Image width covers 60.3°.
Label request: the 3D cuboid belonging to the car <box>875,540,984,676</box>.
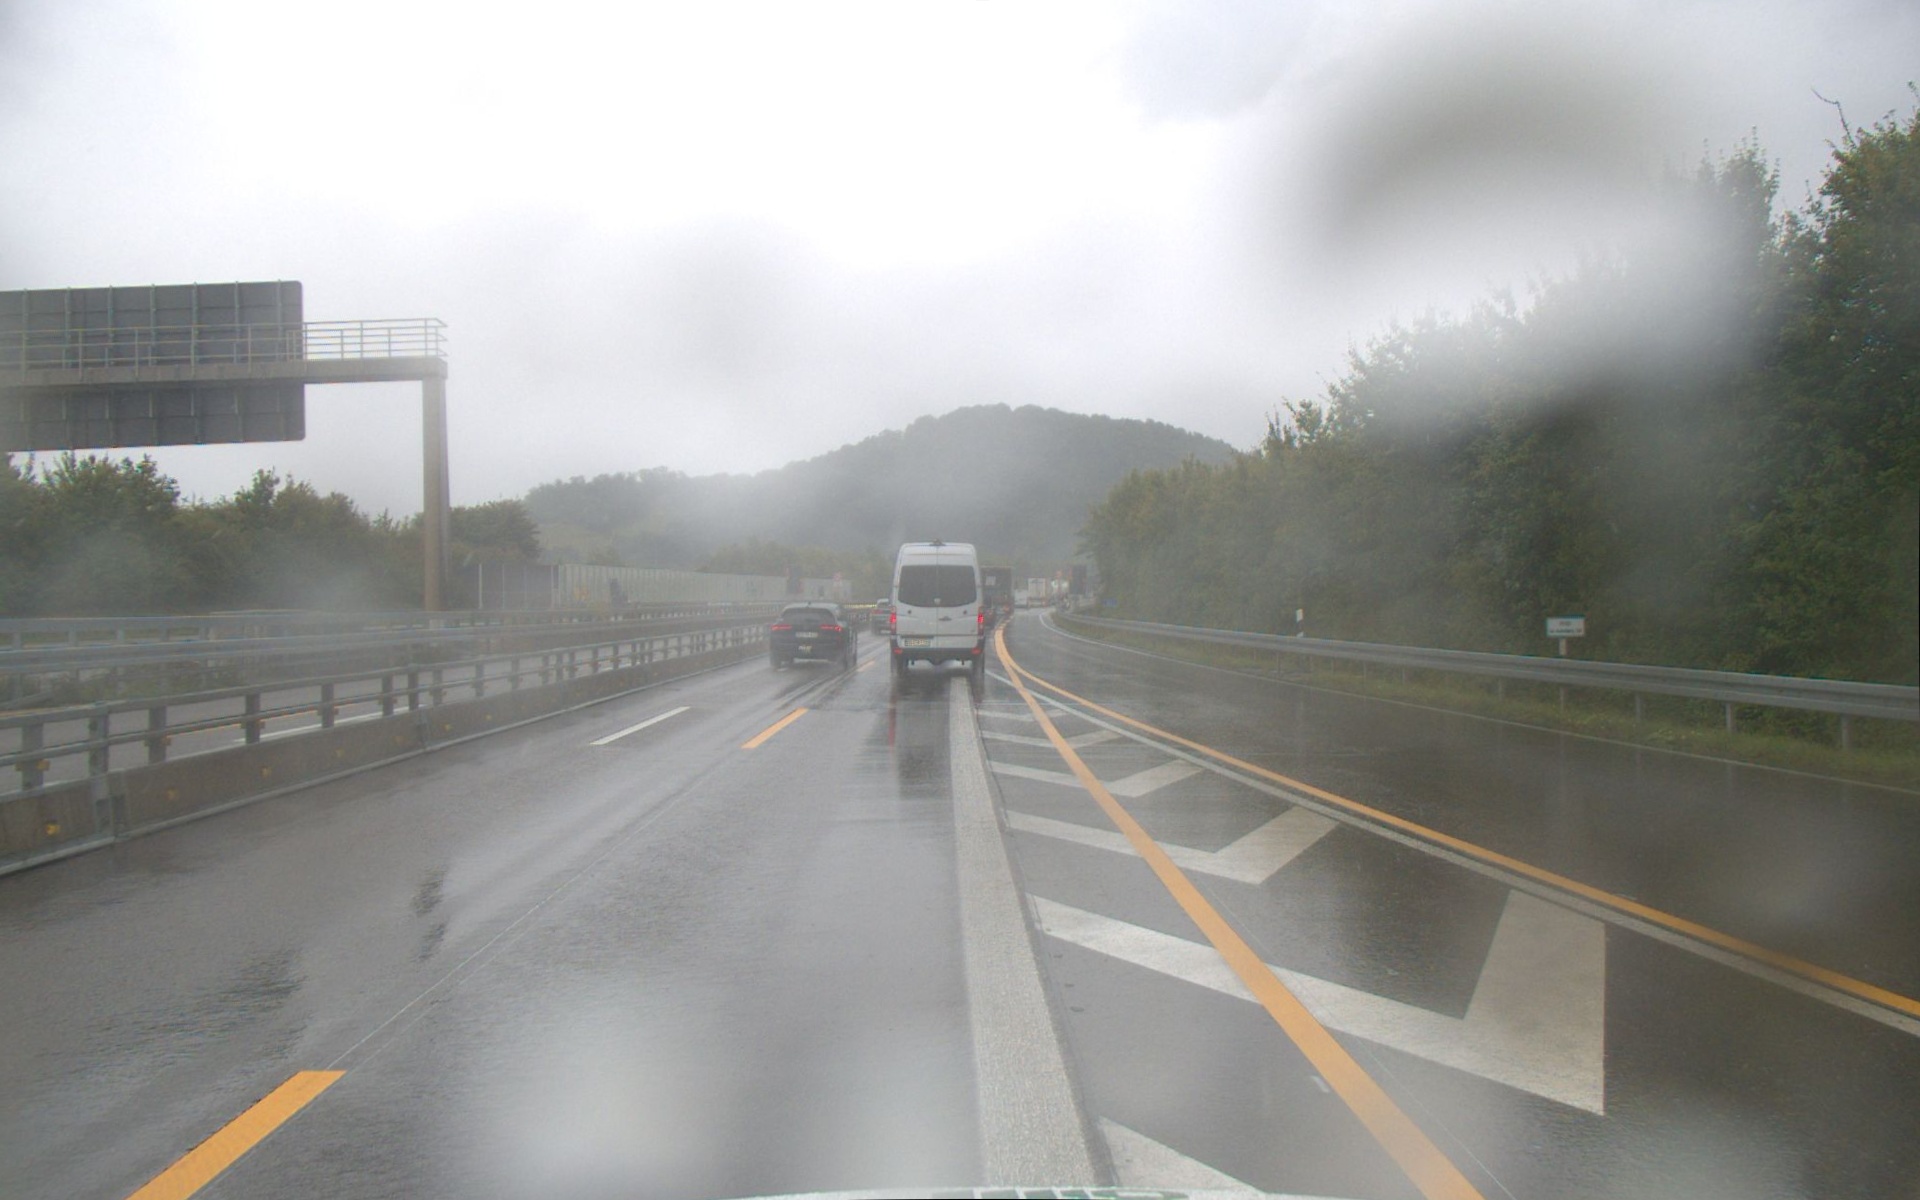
[{"bbox_3d":[-0.580,0.168,35.057,2.101,2.616,5.389,1,0,0],"label":"car"}]

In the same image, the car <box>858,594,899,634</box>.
[{"bbox_3d":[-3.511,0.588,71.794,1.672,1.656,3.999,1,0,-2],"label":"car"}]

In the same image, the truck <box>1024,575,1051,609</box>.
[{"bbox_3d":[10.674,-1.048,227.041,2.971,4.483,9.630,1,0,7],"label":"truck"}]

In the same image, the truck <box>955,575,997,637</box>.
[{"bbox_3d":[0.908,0.341,89.350,1.952,3.163,8.501,1,0,2],"label":"truck"}]

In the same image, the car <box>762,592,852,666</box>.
[{"bbox_3d":[-3.467,0.643,38.074,1.908,1.588,3.997,1,0,-4],"label":"car"}]

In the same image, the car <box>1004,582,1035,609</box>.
[{"bbox_3d":[6.828,-0.511,188.110,2.836,2.938,6.416,1,0,8],"label":"car"}]

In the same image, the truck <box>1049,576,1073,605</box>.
[{"bbox_3d":[16.107,-1.448,262.377,2.836,4.483,9.631,1,0,9],"label":"truck"}]

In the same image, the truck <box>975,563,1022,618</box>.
[{"bbox_3d":[3.384,-0.740,141.584,3.506,4.483,9.628,1,0,4],"label":"truck"}]
